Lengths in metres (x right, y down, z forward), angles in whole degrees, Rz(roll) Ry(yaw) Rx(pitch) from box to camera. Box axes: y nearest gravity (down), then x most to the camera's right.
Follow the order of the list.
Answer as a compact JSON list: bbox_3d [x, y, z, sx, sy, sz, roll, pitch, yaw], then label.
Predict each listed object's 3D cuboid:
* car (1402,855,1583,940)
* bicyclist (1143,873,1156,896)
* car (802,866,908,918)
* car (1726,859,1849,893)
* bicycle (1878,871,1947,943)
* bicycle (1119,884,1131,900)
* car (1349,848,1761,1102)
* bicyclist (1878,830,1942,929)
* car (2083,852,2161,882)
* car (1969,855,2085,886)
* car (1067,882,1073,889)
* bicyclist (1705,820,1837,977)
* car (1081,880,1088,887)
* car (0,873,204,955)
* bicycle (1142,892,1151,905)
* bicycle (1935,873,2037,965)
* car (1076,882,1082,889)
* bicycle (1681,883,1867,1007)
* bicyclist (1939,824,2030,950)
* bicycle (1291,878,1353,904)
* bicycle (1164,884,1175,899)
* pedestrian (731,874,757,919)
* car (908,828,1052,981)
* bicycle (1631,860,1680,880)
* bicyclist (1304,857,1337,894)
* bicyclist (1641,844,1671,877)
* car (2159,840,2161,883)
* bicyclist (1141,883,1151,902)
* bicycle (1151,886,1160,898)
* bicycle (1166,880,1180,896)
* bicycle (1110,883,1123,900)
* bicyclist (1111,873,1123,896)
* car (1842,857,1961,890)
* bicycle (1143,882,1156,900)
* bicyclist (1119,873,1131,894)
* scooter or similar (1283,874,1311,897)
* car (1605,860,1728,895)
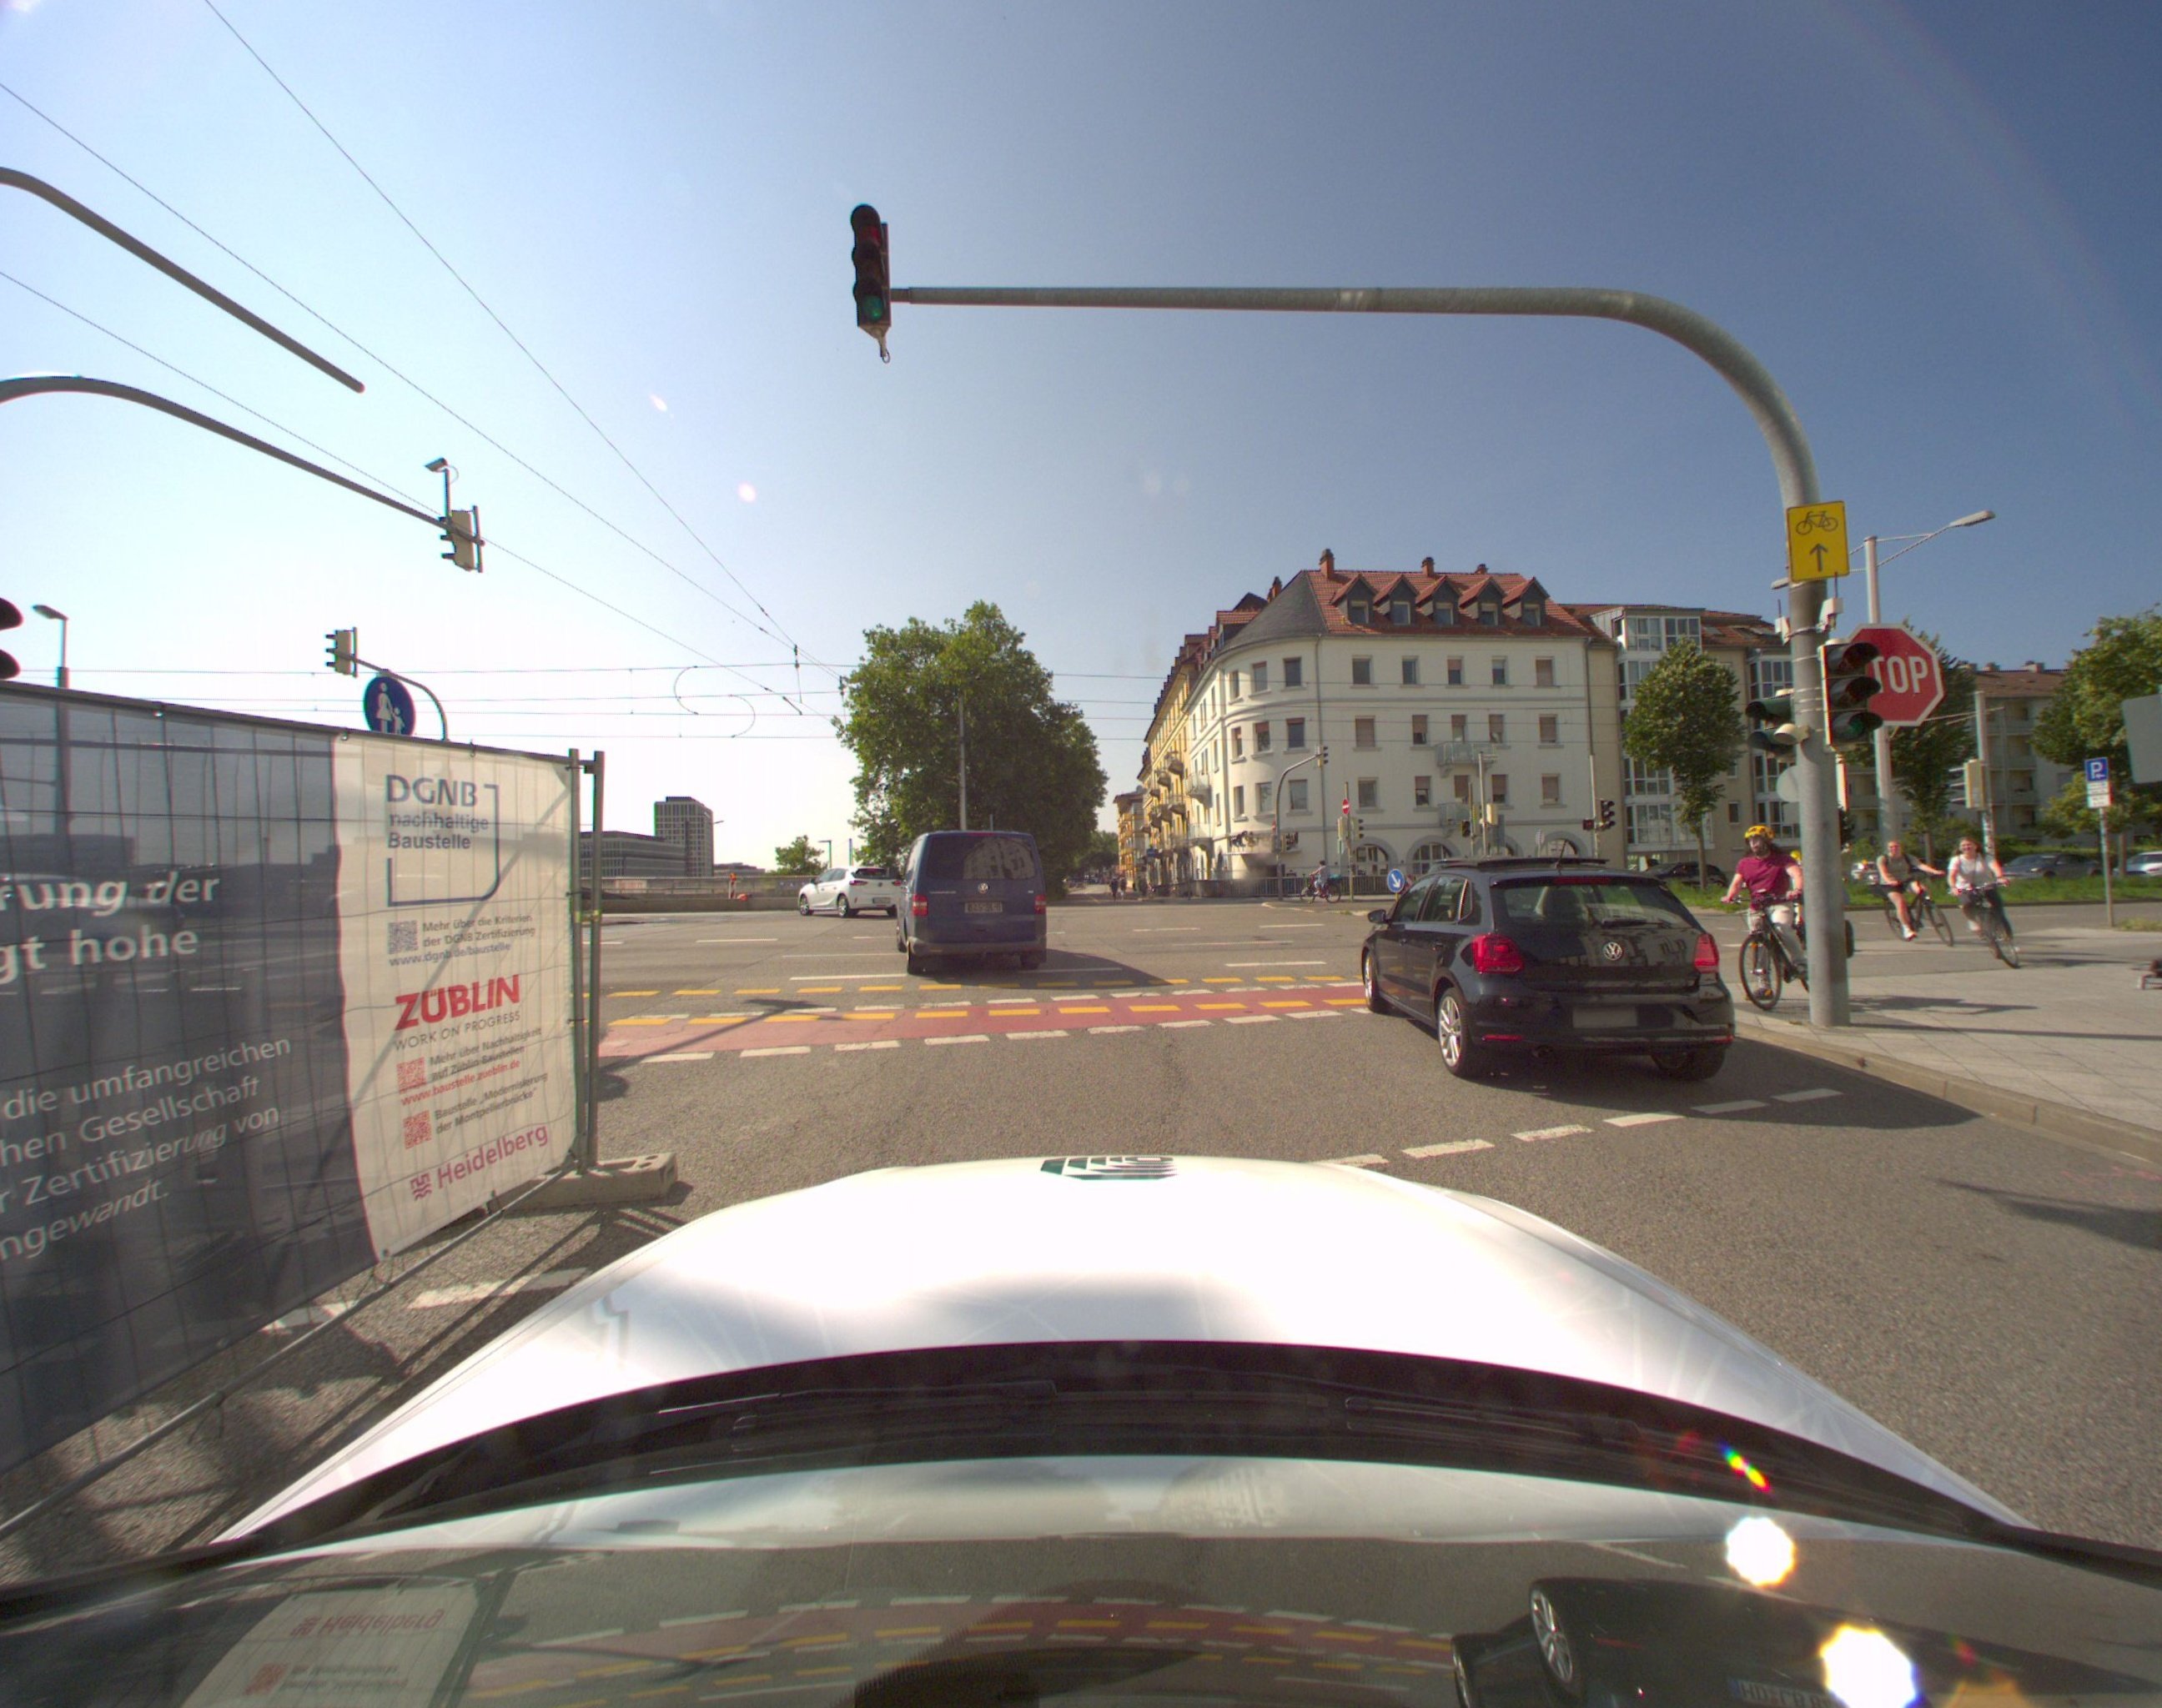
[{"bbox_3d":[8.479,0.800,16.726,3.668,1.556,1.680,0,0,-32],"label":"car"},{"bbox_3d":[4.545,2.059,54.368,0.834,1.508,0.953,-1,-3,3],"label":"bicyclist"},{"bbox_3d":[-6.577,1.094,23.480,1.731,1.405,3.372,1,-3,-39],"label":"car"},{"bbox_3d":[30.007,0.933,34.649,3.984,1.354,1.763,-1,-3,-8],"label":"car"},{"bbox_3d":[13.890,0.865,13.640,0.610,1.099,1.797,-3,-2,41],"label":"bicycle"},{"bbox_3d":[3.246,2.784,59.536,0.834,1.137,2.861,-1,-2,3],"label":"bicycle"},{"bbox_3d":[3.412,0.739,6.695,1.581,1.493,3.669,-1,-1,7],"label":"car"},{"bbox_3d":[13.871,0.428,13.646,0.616,1.590,0.923,-3,-3,41],"label":"bicyclist"},{"bbox_3d":[50.702,0.611,39.063,3.992,1.354,1.759,0,-3,-14],"label":"car"},{"bbox_3d":[43.687,0.756,37.642,3.990,1.354,1.760,0,-3,-12],"label":"car"},{"bbox_3d":[-2.779,8.012,208.894,1.621,1.623,3.694,-1,-1,0],"label":"car"},{"bbox_3d":[6.867,0.425,8.111,0.918,1.478,0.593,0,-2,-21],"label":"bicyclist"},{"bbox_3d":[0.873,7.323,201.678,1.621,1.623,3.694,-1,-1,0],"label":"car"},{"bbox_3d":[-20.509,1.162,15.882,4.623,1.437,1.639,-1,0,-7],"label":"car"},{"bbox_3d":[5.727,3.921,71.538,0.705,0.991,1.820,-3,-1,3],"label":"bicycle"},{"bbox_3d":[11.977,0.820,10.832,0.620,1.099,1.797,-3,-2,40],"label":"bicycle"},{"bbox_3d":[-0.469,8.130,209.502,1.621,1.623,3.694,-1,-1,0],"label":"car"},{"bbox_3d":[6.899,0.859,8.107,1.815,1.099,0.600,0,-2,-22],"label":"bicycle"},{"bbox_3d":[11.877,0.426,10.735,0.616,1.579,0.923,-3,-3,40],"label":"bicyclist"},{"bbox_3d":[9.597,1.478,32.445,0.873,0.990,2.219,1,-3,-42],"label":"bicycle"},{"bbox_3d":[6.837,2.902,62.763,0.677,1.075,2.293,-1,-2,2],"label":"bicycle"},{"bbox_3d":[-13.978,1.744,33.767,0.867,1.795,0.813,-1,-1,-34],"label":"pedestrian"},{"bbox_3d":[-1.661,0.652,12.408,1.816,1.906,4.039,-1,-1,-11],"label":"car"},{"bbox_3d":[29.517,0.817,41.855,1.891,1.020,0.825,-1,-1,17],"label":"bicycle"},{"bbox_3d":[9.552,0.863,32.512,0.873,1.416,0.906,2,-3,-43],"label":"bicyclist"},{"bbox_3d":[29.549,0.326,41.855,0.998,1.654,0.813,-1,-1,17],"label":"bicyclist"},{"bbox_3d":[23.673,0.484,15.851,3.729,1.638,1.733,-1,-2,-11],"label":"car"},{"bbox_3d":[5.707,3.389,71.555,0.705,1.550,0.785,-3,-1,2],"label":"bicyclist"},{"bbox_3d":[6.750,3.416,73.633,0.677,1.075,2.293,-1,-2,2],"label":"bicycle"},{"bbox_3d":[6.711,2.498,59.293,0.834,1.137,2.860,-1,-2,3],"label":"bicycle"},{"bbox_3d":[2.473,2.576,55.897,0.834,1.137,2.860,-1,-2,3],"label":"bicycle"},{"bbox_3d":[2.470,2.107,55.941,0.834,1.538,1.024,-1,-3,3],"label":"bicyclist"},{"bbox_3d":[36.506,0.868,36.265,3.987,1.354,1.762,0,-3,-10],"label":"car"},{"bbox_3d":[4.566,2.479,54.448,0.834,1.137,2.860,-1,-2,3],"label":"bicycle"},{"bbox_3d":[3.239,2.152,59.654,0.834,1.538,1.024,-1,-3,3],"label":"bicyclist"},{"bbox_3d":[10.724,1.571,40.478,1.291,1.118,0.340,-1,-2,12],"label":"scooter or similar"},{"bbox_3d":[24.202,1.001,33.730,3.983,1.354,1.763,-1,-3,-7],"label":"car"}]
